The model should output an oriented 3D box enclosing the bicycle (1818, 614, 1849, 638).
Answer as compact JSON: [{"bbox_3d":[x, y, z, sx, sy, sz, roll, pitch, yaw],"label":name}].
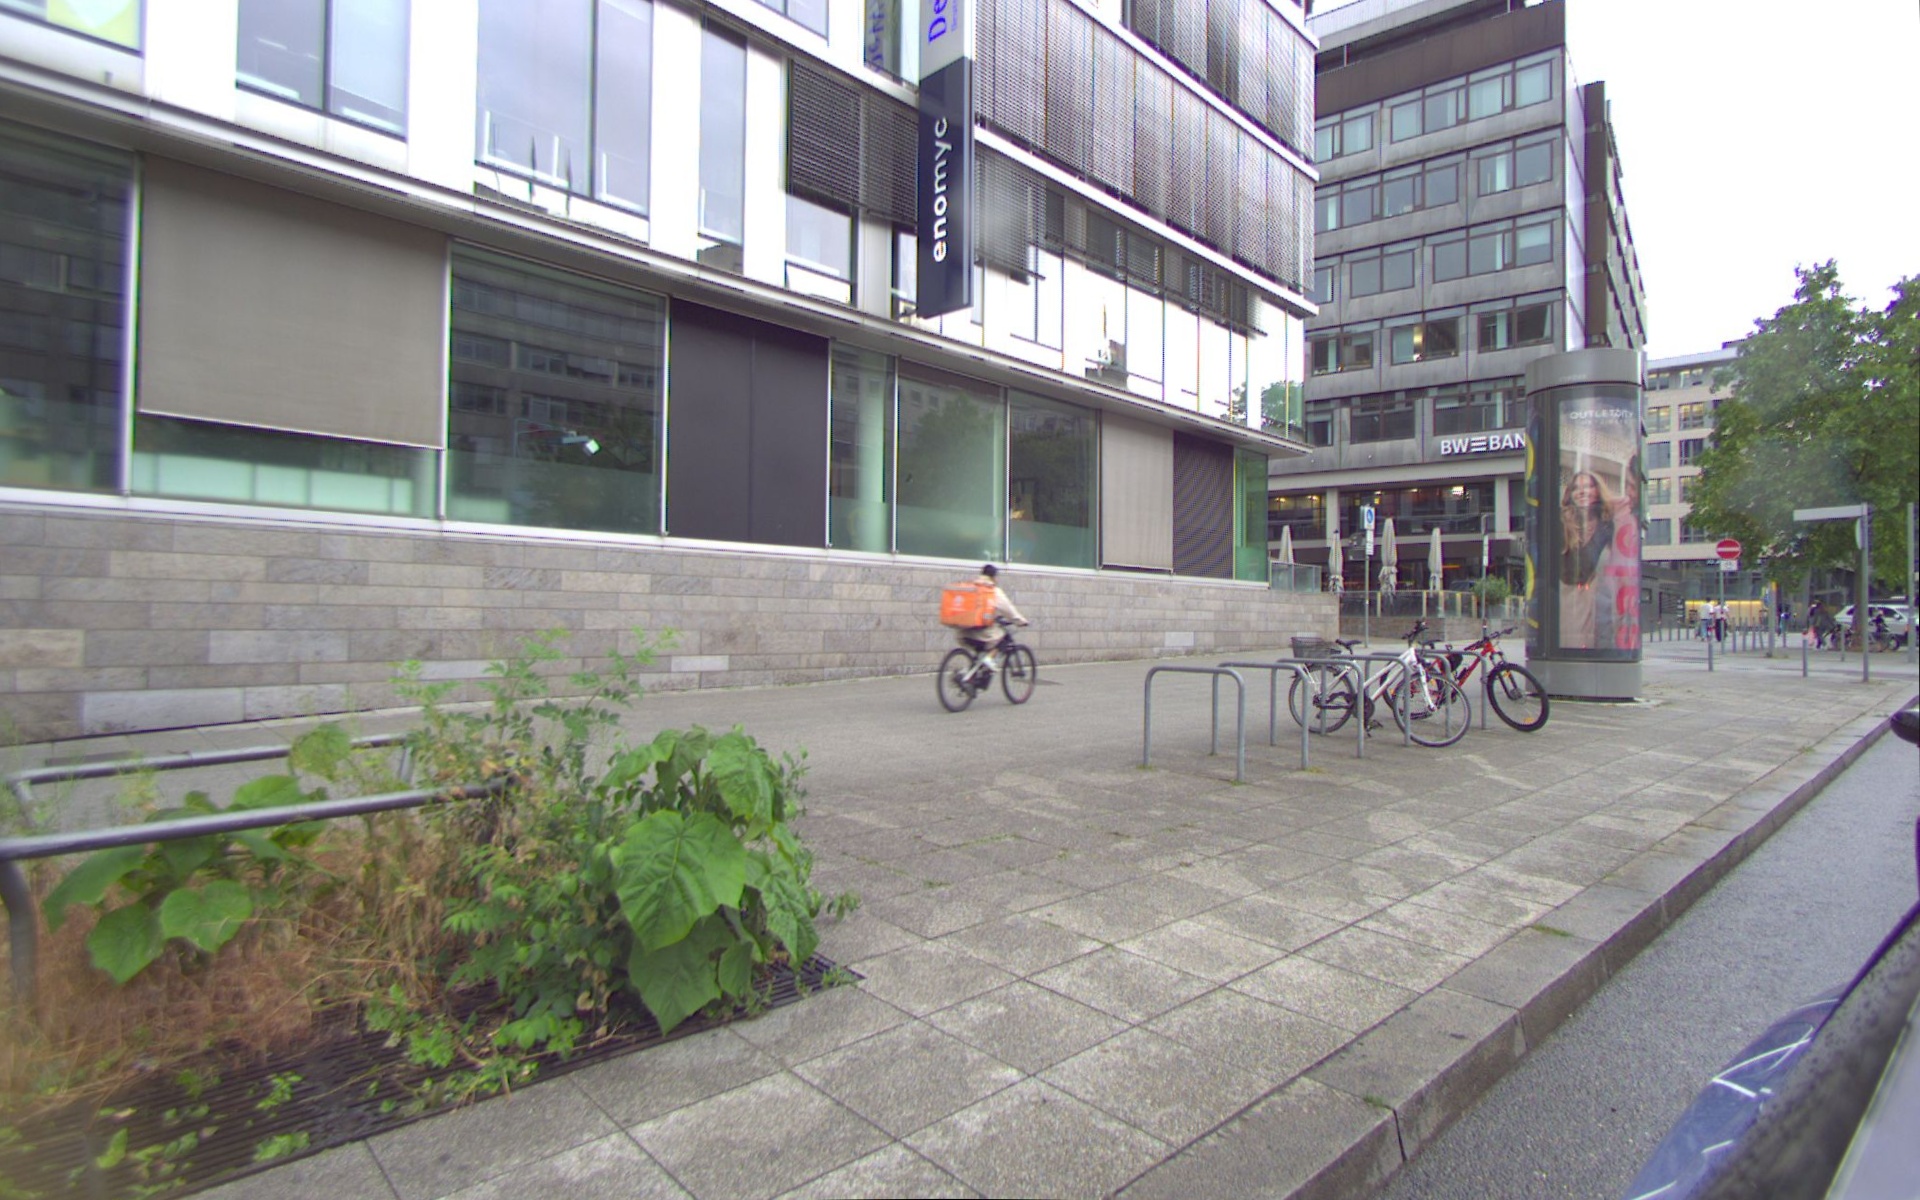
[{"bbox_3d":[42.167,1.252,48.867,1.943,1.154,0.776,1,-5,-41],"label":"bicycle"}]

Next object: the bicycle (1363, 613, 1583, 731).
[{"bbox_3d":[5.503,0.718,10.984,0.793,1.118,1.989,1,0,-37],"label":"bicycle"}]

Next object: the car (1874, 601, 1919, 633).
[{"bbox_3d":[46.774,0.813,48.223,1.876,1.557,4.399,0,-1,-14],"label":"car"}]

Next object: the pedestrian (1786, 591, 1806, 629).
[{"bbox_3d":[43.102,0.513,52.154,0.719,1.908,0.646,-2,-2,43],"label":"pedestrian"}]

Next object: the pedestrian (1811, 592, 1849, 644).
[{"bbox_3d":[28.571,0.586,33.239,0.708,1.707,0.529,0,-2,0],"label":"pedestrian"}]

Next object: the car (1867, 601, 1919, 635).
[{"bbox_3d":[44.788,0.803,46.450,1.876,1.557,4.365,0,-1,-14],"label":"car"}]

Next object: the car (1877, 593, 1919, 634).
[{"bbox_3d":[48.783,0.667,50.234,1.882,2.018,4.525,0,-1,-12],"label":"car"}]

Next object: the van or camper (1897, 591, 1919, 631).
[{"bbox_3d":[61.329,0.643,61.435,2.267,2.479,6.275,0,-1,-11],"label":"van or camper"}]

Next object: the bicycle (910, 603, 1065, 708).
[{"bbox_3d":[0.377,0.616,12.077,1.003,1.128,2.045,-1,-1,30],"label":"bicycle"}]

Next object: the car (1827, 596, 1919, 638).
[{"bbox_3d":[38.717,0.690,41.373,1.876,1.671,4.812,0,-1,-11],"label":"car"}]

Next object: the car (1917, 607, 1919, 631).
[{"bbox_3d":[58.717,1.084,58.935,1.673,1.442,4.068,0,-1,-12],"label":"car"}]

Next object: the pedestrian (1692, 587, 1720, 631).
[{"bbox_3d":[32.447,0.387,44.024,0.883,1.893,0.802,1,-2,-42],"label":"pedestrian"}]

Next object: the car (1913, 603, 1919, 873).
[{"bbox_3d":[5.083,0.726,4.043,3.770,1.435,1.631,0,-1,-43],"label":"car"}]

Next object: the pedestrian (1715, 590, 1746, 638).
[{"bbox_3d":[32.981,0.605,43.323,0.739,2.065,0.852,1,-2,-35],"label":"pedestrian"}]

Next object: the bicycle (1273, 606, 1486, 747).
[{"bbox_3d":[4.043,0.685,9.892,0.648,1.212,1.841,1,0,-37],"label":"bicycle"}]

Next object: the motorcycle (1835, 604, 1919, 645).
[{"bbox_3d":[31.778,0.851,35.041,0.664,1.375,2.090,1,-2,-34],"label":"motorcycle"}]

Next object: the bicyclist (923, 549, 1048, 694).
[{"bbox_3d":[0.317,0.267,11.985,1.007,1.603,1.123,-4,-3,32],"label":"bicyclist"}]

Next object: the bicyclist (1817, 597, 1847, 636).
[{"bbox_3d":[42.101,0.801,48.864,1.060,1.772,0.811,-1,-3,-39],"label":"bicyclist"}]
